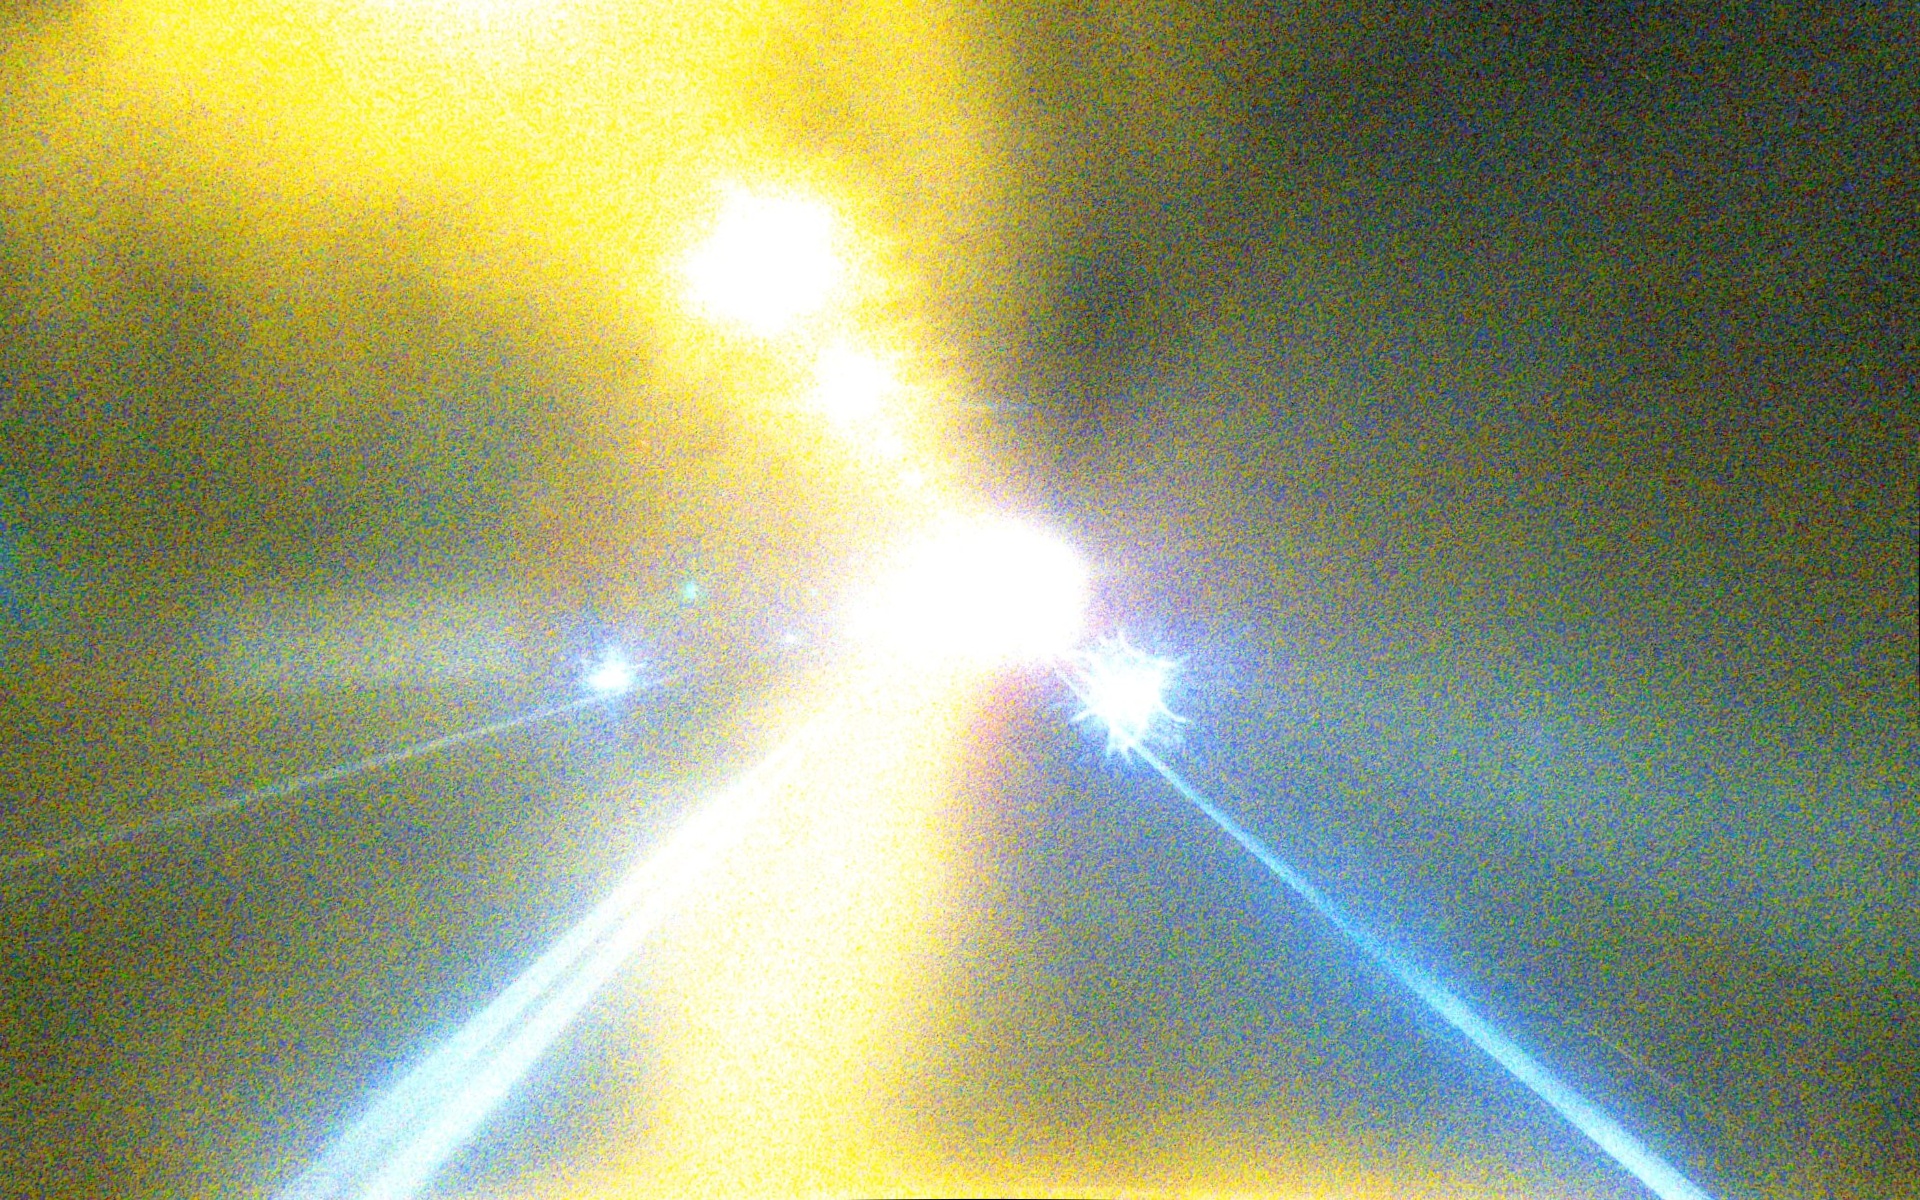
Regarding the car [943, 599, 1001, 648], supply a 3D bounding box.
[{"bbox_3d":[0.483,0.857,61.309,2.046,1.691,4.001,1,-1,2],"label":"car"}]
